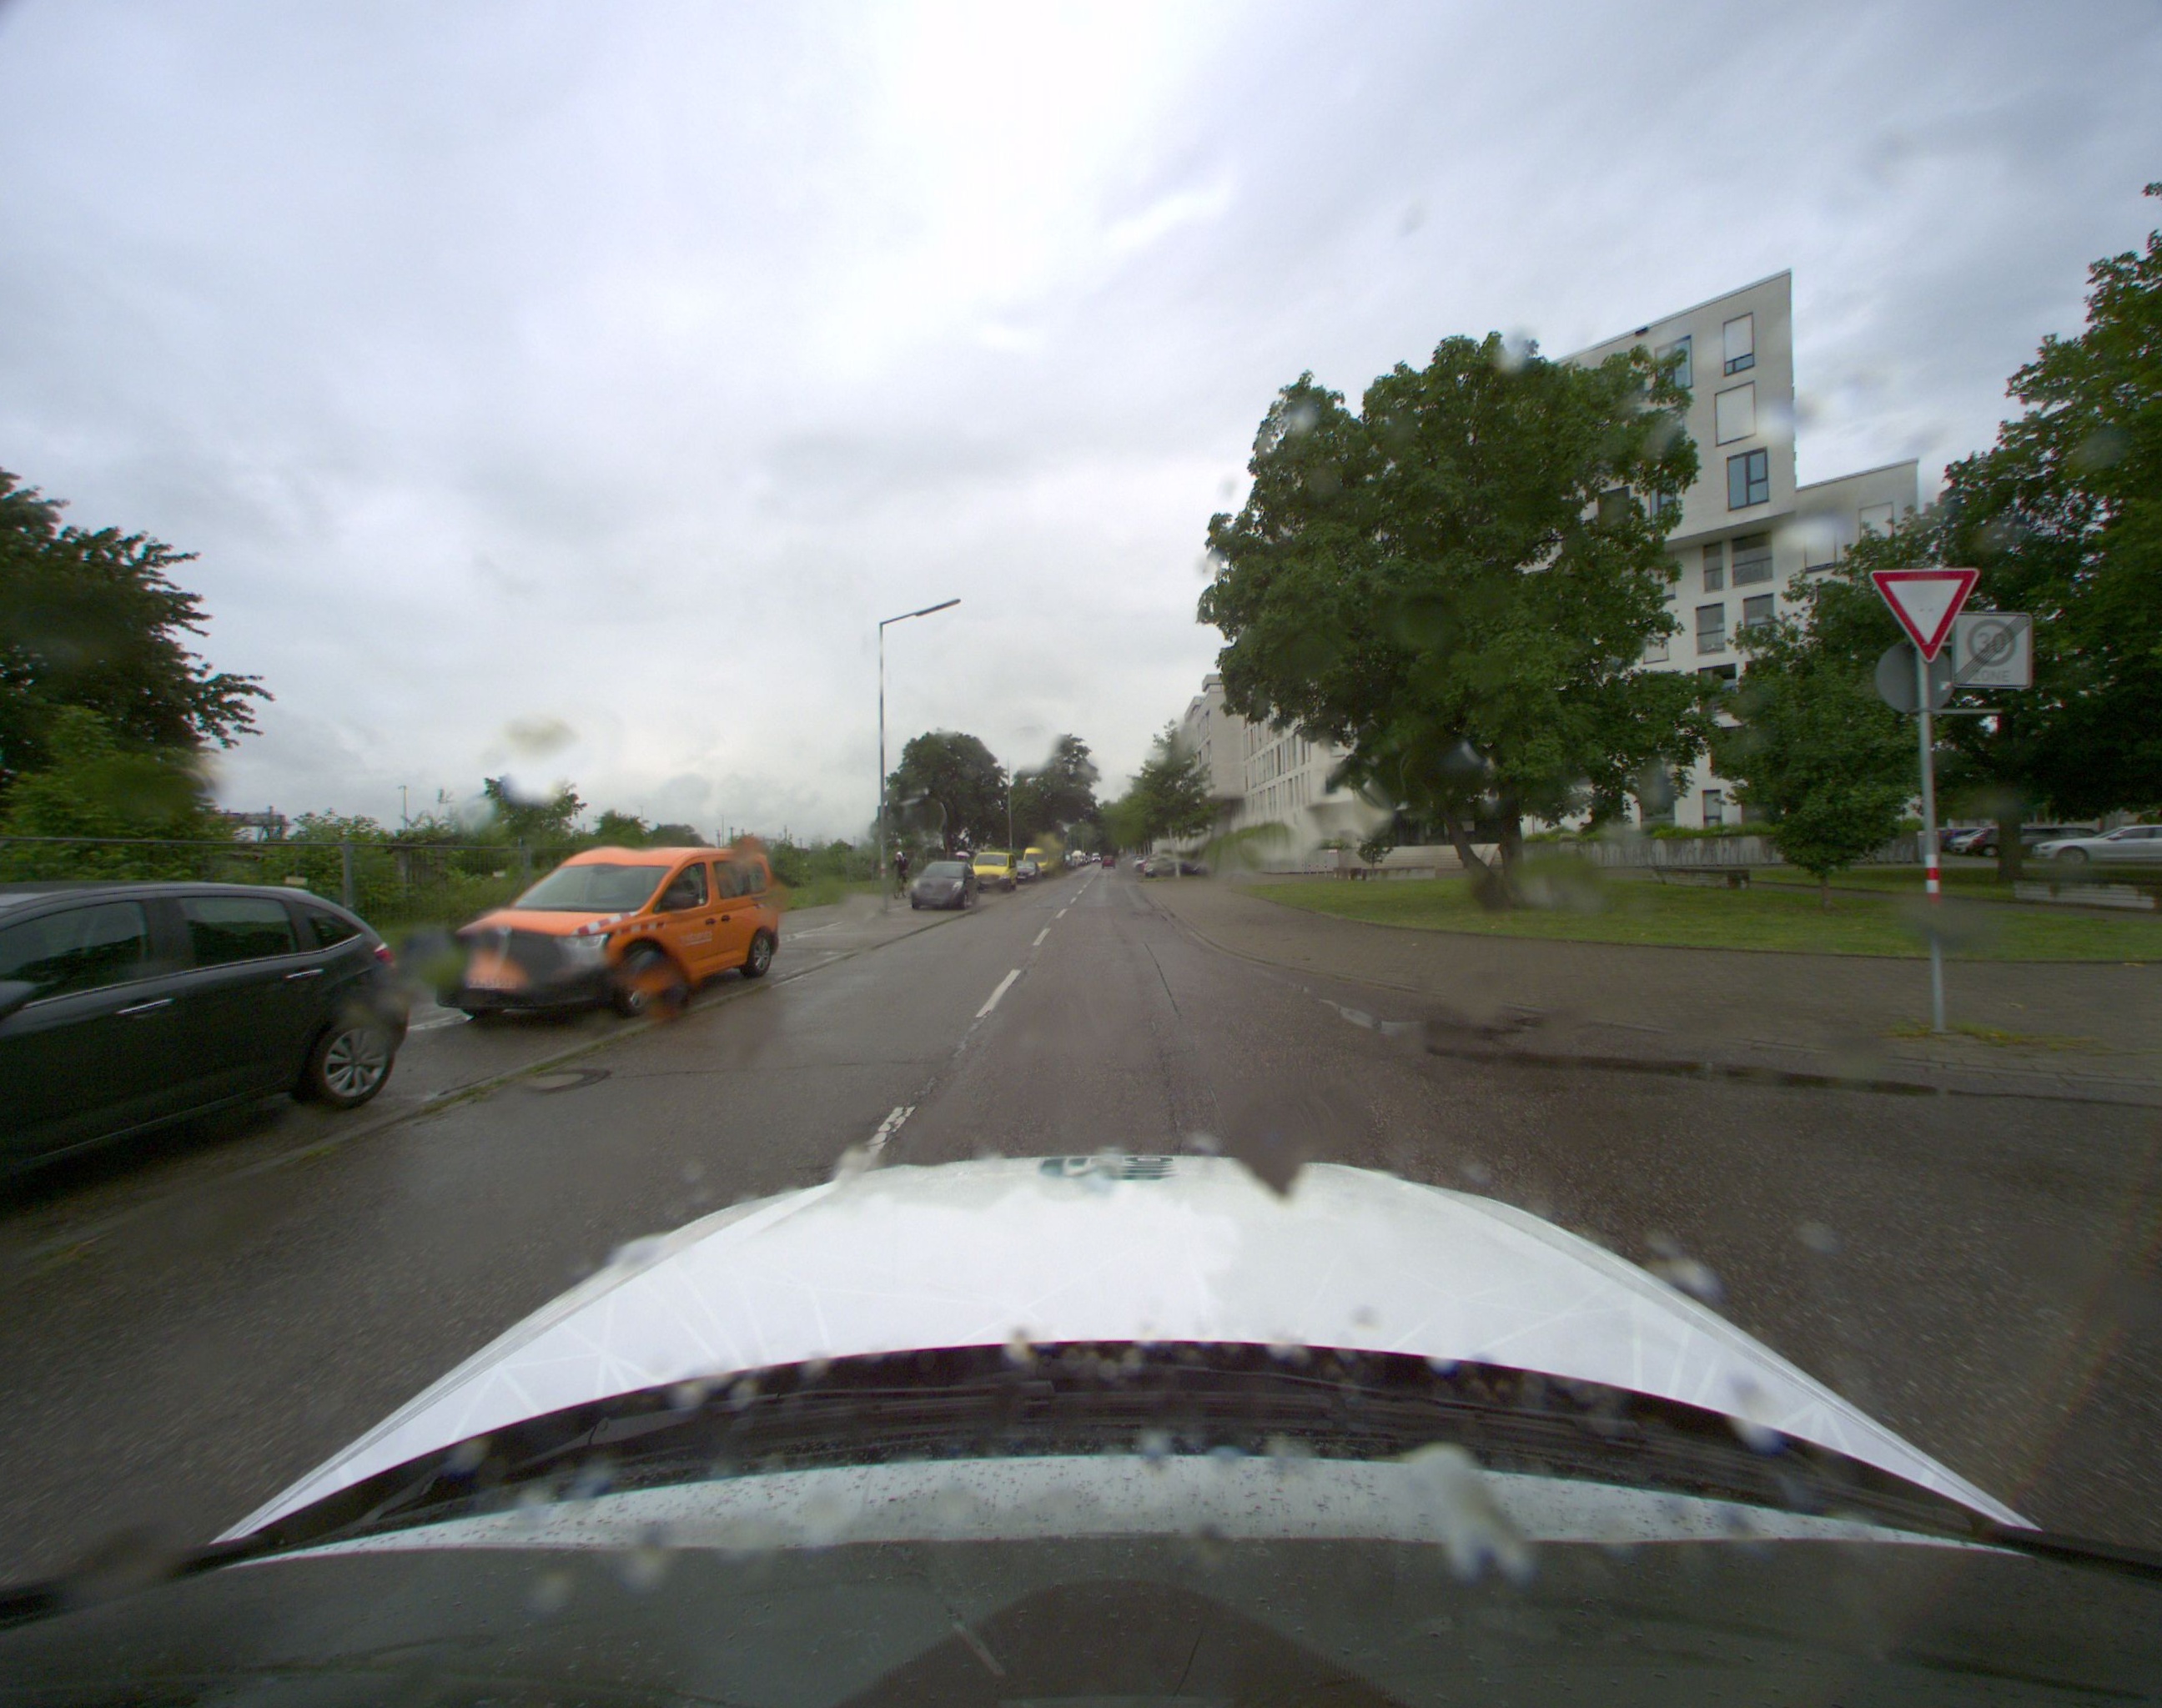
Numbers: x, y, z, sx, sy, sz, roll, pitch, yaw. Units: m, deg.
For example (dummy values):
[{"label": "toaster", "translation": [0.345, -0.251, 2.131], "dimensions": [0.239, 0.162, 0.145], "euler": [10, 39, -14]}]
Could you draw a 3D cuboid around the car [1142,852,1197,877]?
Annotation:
[{"label": "car", "translation": [6.649, 0.777, 61.391], "dimensions": [3.972, 1.555, 1.635], "euler": [-4, 0, 2]}]

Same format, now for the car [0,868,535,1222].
[{"label": "car", "translation": [-5.564, 0.884, 4.487], "dimensions": [1.677, 1.502, 4.894], "euler": [-1, 0, 2]}]

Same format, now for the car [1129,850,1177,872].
[{"label": "car", "translation": [7.192, 0.686, 81.674], "dimensions": [4.527, 1.685, 1.885], "euler": [-6, 0, -1]}]

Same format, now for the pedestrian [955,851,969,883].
[{"label": "pedestrian", "translation": [-7.561, 0.822, 51.763], "dimensions": [0.739, 2.013, 0.981], "euler": [0, 0, 2]}]

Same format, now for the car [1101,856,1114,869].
[{"label": "car", "translation": [3.628, 1.156, 111.246], "dimensions": [1.750, 1.706, 4.001], "euler": [-1, -1, 2]}]

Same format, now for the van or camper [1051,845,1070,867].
[{"label": "van or camper", "translation": [-2.564, 0.262, 103.951], "dimensions": [2.087, 2.715, 7.573], "euler": [1, -1, 0]}]

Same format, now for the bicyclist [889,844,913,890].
[{"label": "bicyclist", "translation": [-7.264, 0.531, 32.924], "dimensions": [0.695, 1.829, 1.009], "euler": [-1, 0, 2]}]

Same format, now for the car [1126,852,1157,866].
[{"label": "car", "translation": [8.006, 0.650, 108.075], "dimensions": [3.973, 1.509, 1.685], "euler": [-3, 1, 1]}]

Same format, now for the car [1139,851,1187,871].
[{"label": "car", "translation": [7.202, 0.640, 71.482], "dimensions": [3.973, 1.451, 1.821], "euler": [-4, -2, 1]}]

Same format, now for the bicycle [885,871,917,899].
[{"label": "bicycle", "translation": [-7.255, 1.228, 32.963], "dimensions": [0.713, 1.042, 2.146], "euler": [-1, 0, 2]}]

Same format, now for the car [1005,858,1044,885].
[{"label": "car", "translation": [-3.539, 1.068, 51.873], "dimensions": [1.986, 1.594, 5.018], "euler": [1, -1, 1]}]

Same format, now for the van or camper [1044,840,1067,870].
[{"label": "van or camper", "translation": [-2.693, 0.119, 88.040], "dimensions": [2.087, 3.094, 6.424], "euler": [1, -1, 1]}]

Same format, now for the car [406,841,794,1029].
[{"label": "car", "translation": [-5.384, 0.785, 9.963], "dimensions": [1.931, 1.767, 4.335], "euler": [-1, 0, 4]}]

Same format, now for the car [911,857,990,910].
[{"label": "car", "translation": [-4.208, 0.901, 26.897], "dimensions": [1.797, 1.561, 4.035], "euler": [1, 0, 2]}]

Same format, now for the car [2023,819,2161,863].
[{"label": "car", "translation": [37.320, -0.474, 28.980], "dimensions": [4.775, 1.507, 1.635], "euler": [1, 1, 42]}]

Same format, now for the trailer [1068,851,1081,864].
[{"label": "trailer", "translation": [-1.058, 0.623, 138.217], "dimensions": [2.052, 2.218, 5.794], "euler": [0, 0, 0]}]

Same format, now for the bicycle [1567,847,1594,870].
[{"label": "bicycle", "translation": [23.366, 0.191, 38.084], "dimensions": [0.716, 1.033, 2.086], "euler": [-2, 0, 41]}]

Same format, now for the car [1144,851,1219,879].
[{"label": "car", "translation": [6.484, 0.715, 52.741], "dimensions": [4.555, 1.497, 1.826], "euler": [-4, 0, 0]}]

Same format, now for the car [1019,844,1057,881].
[{"label": "car", "translation": [-3.311, 0.659, 63.830], "dimensions": [2.182, 2.694, 6.087], "euler": [1, 0, 4]}]

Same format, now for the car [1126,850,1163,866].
[{"label": "car", "translation": [8.049, 0.515, 103.386], "dimensions": [4.462, 1.687, 1.936], "euler": [-5, 0, 0]}]

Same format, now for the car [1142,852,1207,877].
[{"label": "car", "translation": [6.689, 0.770, 58.724], "dimensions": [4.471, 1.481, 1.692], "euler": [-4, 0, 1]}]

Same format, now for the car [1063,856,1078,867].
[{"label": "car", "translation": [-1.480, 1.112, 115.614], "dimensions": [1.767, 1.502, 4.830], "euler": [1, 0, 2]}]

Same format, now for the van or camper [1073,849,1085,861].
[{"label": "van or camper", "translation": [-0.397, 0.162, 164.671], "dimensions": [2.181, 2.461, 6.380], "euler": [0, 0, 2]}]

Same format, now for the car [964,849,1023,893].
[{"label": "car", "translation": [-4.136, 0.762, 39.583], "dimensions": [2.009, 1.956, 6.067], "euler": [0, 0, 2]}]

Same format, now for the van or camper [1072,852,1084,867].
[{"label": "van or camper", "translation": [-0.525, 0.967, 152.294], "dimensions": [1.986, 2.762, 7.902], "euler": [0, 0, 2]}]
